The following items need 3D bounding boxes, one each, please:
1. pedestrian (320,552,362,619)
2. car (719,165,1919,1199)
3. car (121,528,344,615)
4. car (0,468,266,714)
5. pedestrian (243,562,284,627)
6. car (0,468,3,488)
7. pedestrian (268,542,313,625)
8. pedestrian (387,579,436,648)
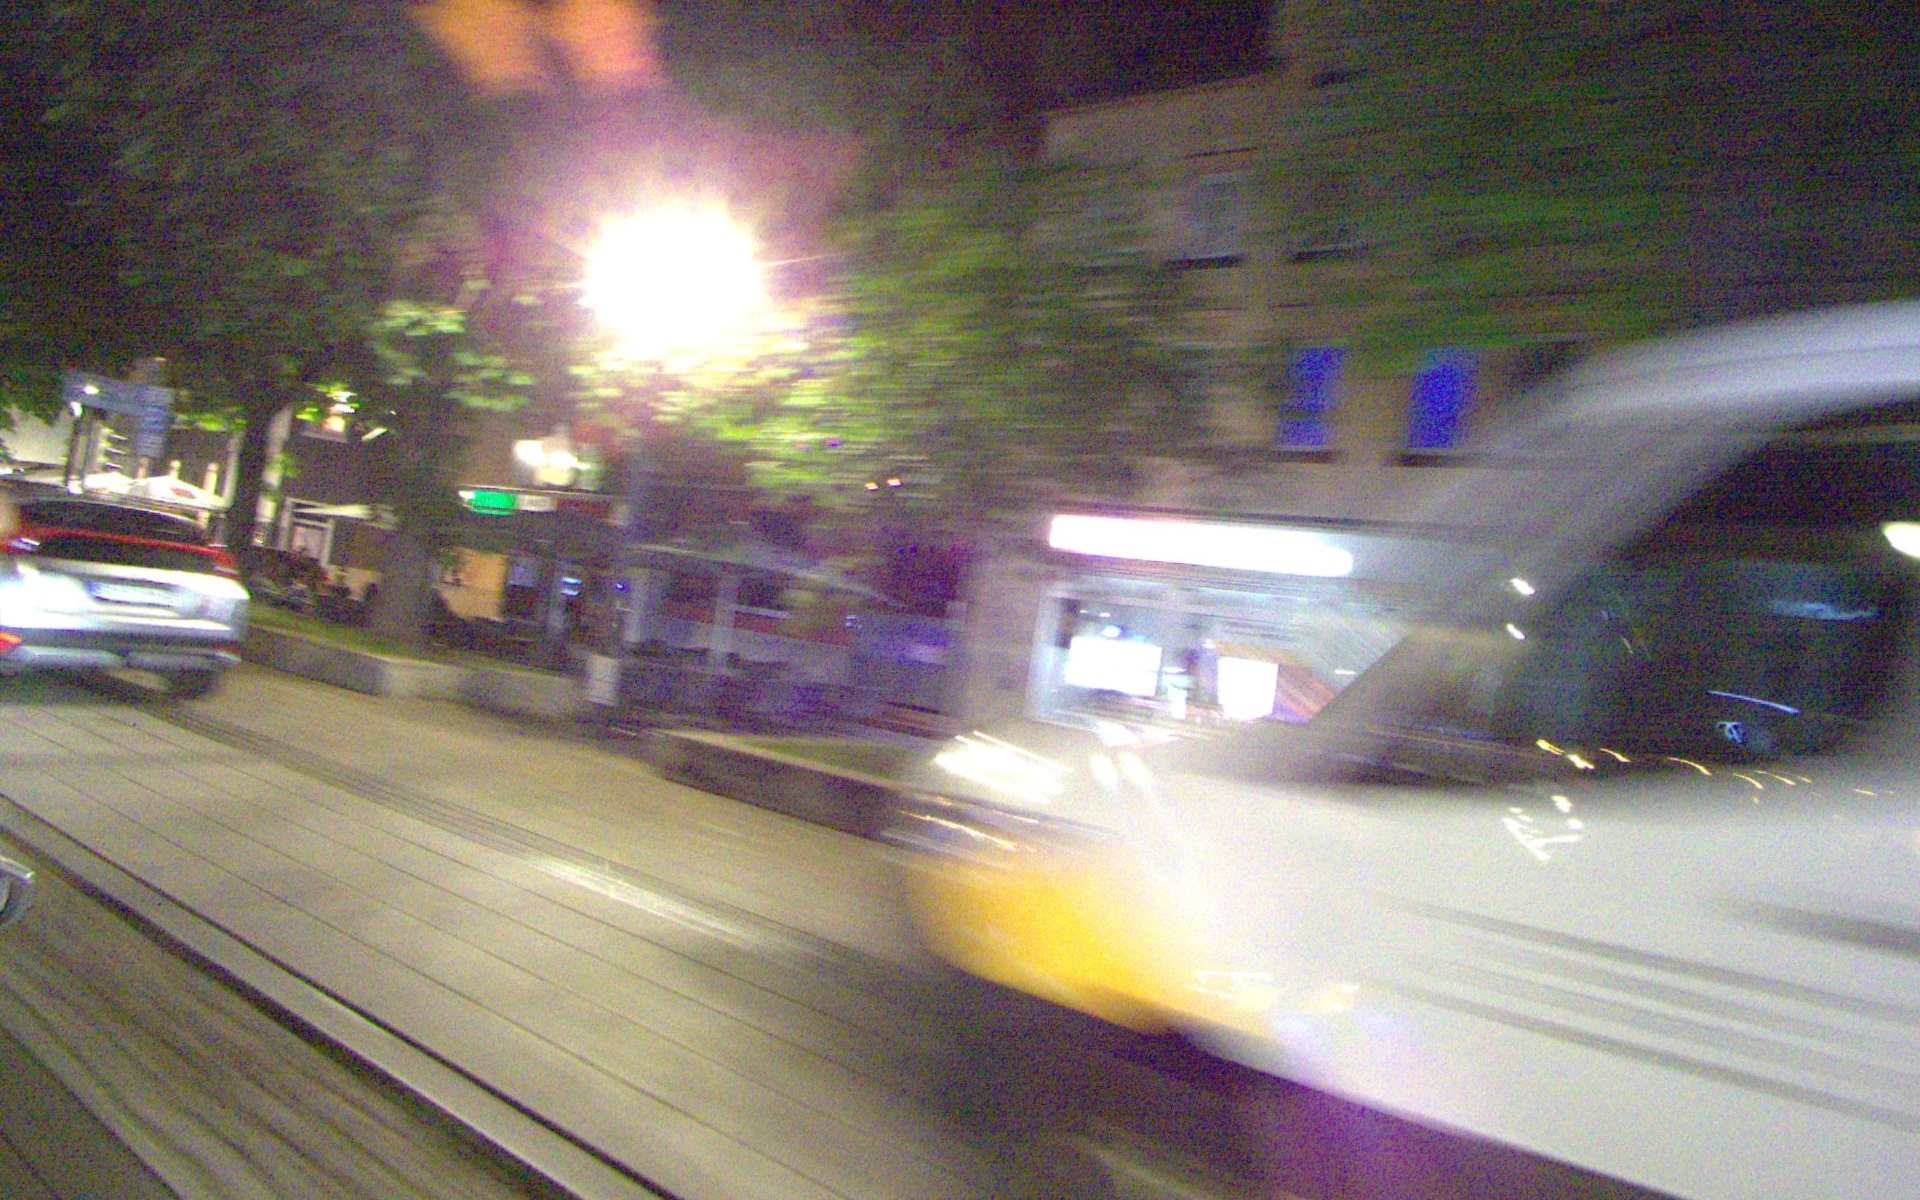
[{"bbox_3d":[-12.642,-0.298,20.554,0.524,1.277,0.499,10,-3,-28],"label":"pedestrian"},{"bbox_3d":[2.259,0.691,2.160,5.065,2.352,2.140,7,-3,30],"label":"car"},{"bbox_3d":[-19.197,-0.702,26.751,1.773,1.547,4.329,6,-4,31],"label":"car"},{"bbox_3d":[-8.175,-0.211,8.762,4.224,1.677,1.689,7,-3,30],"label":"car"},{"bbox_3d":[-13.371,-0.101,19.317,0.386,1.181,0.516,10,-3,-23],"label":"pedestrian"},{"bbox_3d":[-13.258,-0.918,11.687,4.503,1.842,1.794,7,-3,31],"label":"car"},{"bbox_3d":[-13.630,-0.331,20.489,0.476,1.605,0.370,10,-2,-23],"label":"pedestrian"},{"bbox_3d":[-11.013,0.266,20.209,0.677,1.277,0.525,10,-3,-30],"label":"pedestrian"}]
